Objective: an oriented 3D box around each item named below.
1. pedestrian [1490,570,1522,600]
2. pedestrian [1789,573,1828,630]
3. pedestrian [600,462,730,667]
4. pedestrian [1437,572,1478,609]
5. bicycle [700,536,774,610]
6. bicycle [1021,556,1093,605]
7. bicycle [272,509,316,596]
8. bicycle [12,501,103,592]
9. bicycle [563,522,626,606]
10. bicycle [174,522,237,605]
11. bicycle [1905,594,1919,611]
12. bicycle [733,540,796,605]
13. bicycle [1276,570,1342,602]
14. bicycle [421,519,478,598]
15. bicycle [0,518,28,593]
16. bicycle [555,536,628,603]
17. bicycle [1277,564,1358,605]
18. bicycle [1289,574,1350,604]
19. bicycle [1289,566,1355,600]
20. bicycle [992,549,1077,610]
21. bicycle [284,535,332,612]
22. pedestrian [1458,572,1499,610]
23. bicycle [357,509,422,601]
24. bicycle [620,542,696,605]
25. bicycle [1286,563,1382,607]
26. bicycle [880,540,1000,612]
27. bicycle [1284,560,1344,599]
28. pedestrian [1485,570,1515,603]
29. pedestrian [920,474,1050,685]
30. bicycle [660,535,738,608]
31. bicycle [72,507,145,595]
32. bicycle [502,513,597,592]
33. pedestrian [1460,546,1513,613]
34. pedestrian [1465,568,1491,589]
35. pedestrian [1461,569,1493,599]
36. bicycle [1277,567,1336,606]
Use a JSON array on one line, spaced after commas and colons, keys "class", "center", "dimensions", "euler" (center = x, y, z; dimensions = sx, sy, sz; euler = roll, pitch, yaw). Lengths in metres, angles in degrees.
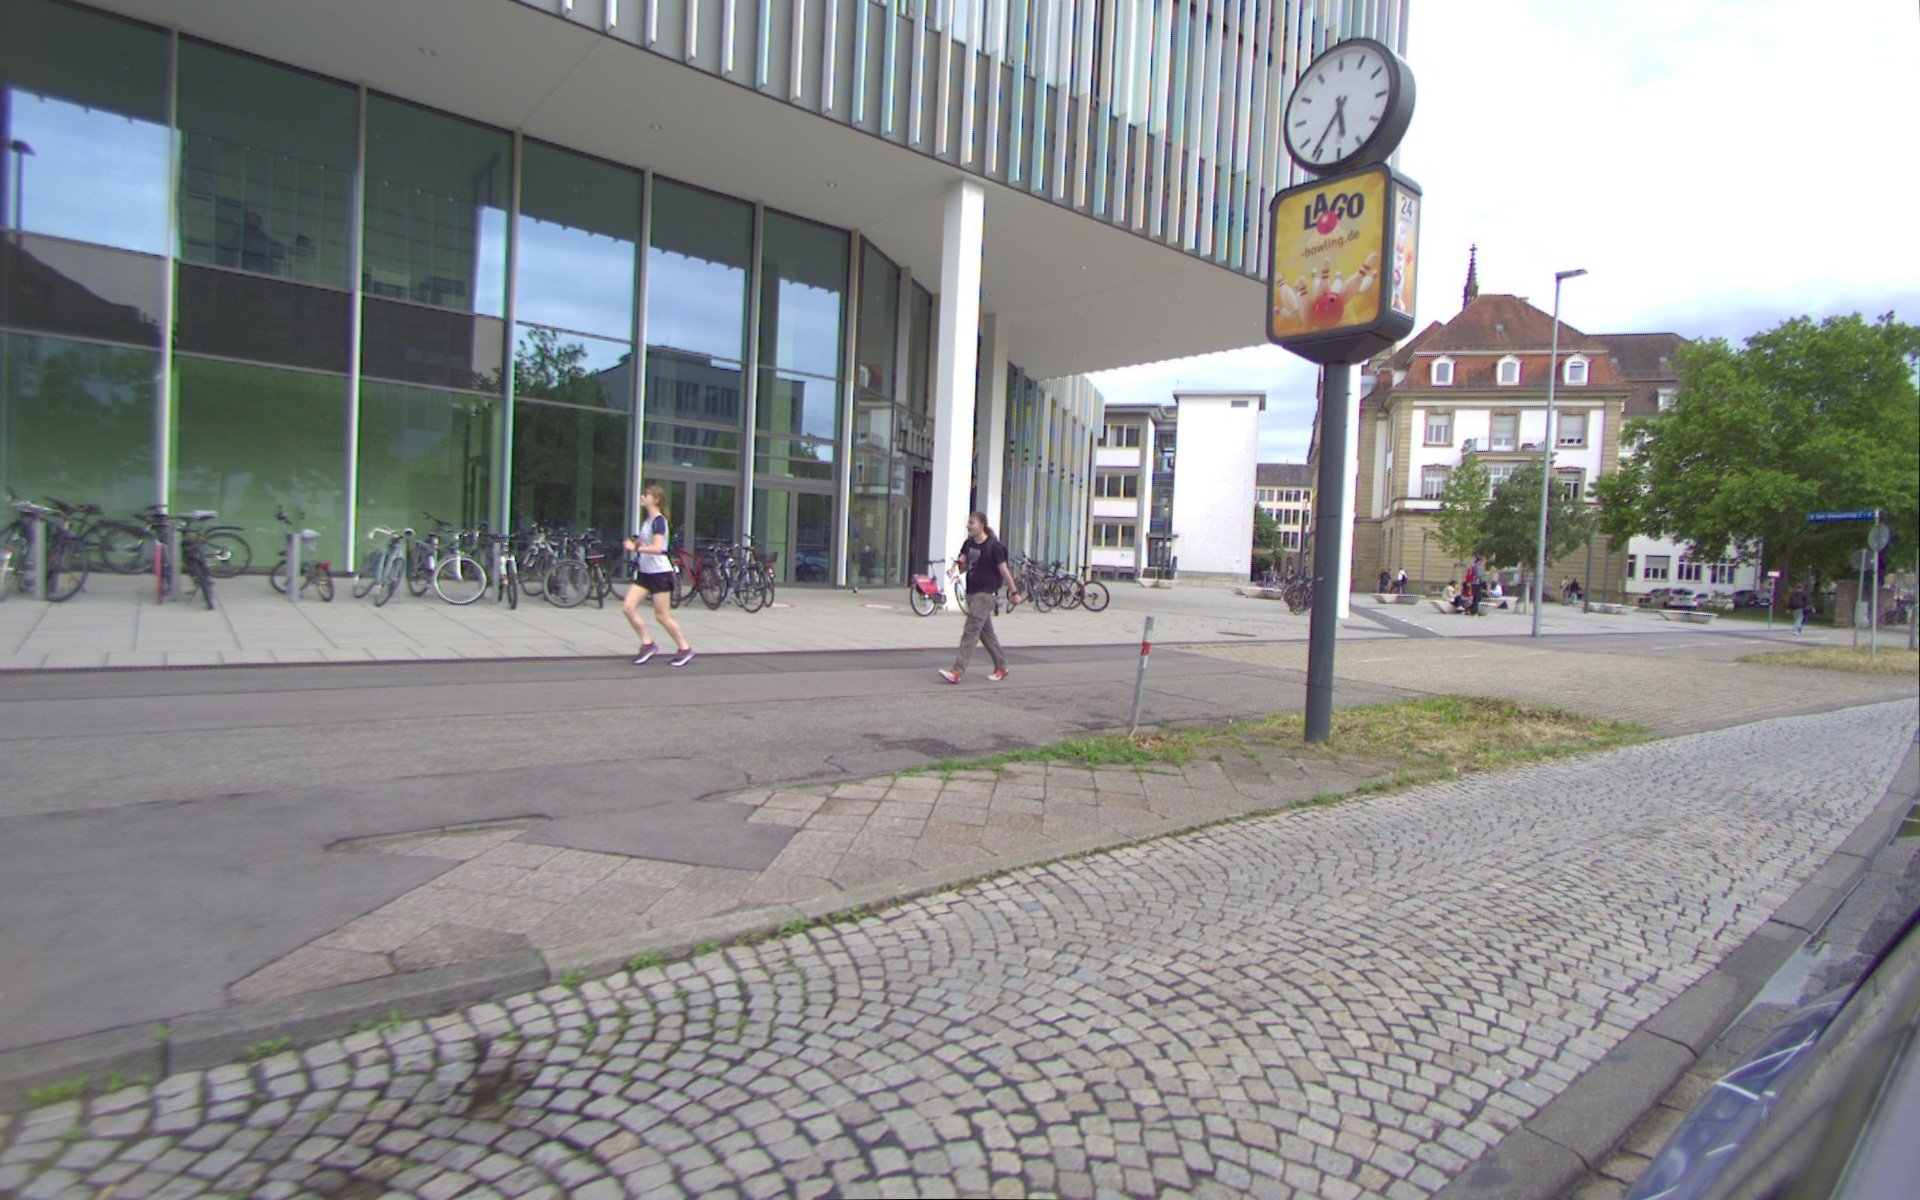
[{"class": "pedestrian", "center": [23.380, -0.643, 43.363], "dimensions": [0.862, 1.273, 0.912], "euler": [1, 1, -36]}, {"class": "pedestrian", "center": [31.471, 0.053, 37.534], "dimensions": [0.878, 2.038, 0.845], "euler": [1, 3, -38]}, {"class": "pedestrian", "center": [-2.845, -0.346, 9.756], "dimensions": [0.879, 1.858, 0.844], "euler": [1, 3, -41]}, {"class": "pedestrian", "center": [17.179, -0.332, 34.985], "dimensions": [0.828, 1.207, 0.896], "euler": [1, 3, -25]}, {"class": "bicycle", "center": [-3.551, -0.439, 16.072], "dimensions": [0.549, 1.056, 1.405], "euler": [1, 5, -38]}, {"class": "bicycle", "center": [2.110, -0.431, 21.920], "dimensions": [1.466, 0.940, 0.439], "euler": [4, 3, 12]}, {"class": "bicycle", "center": [-8.657, -0.629, 13.175], "dimensions": [0.426, 1.062, 1.203], "euler": [1, 4, -32]}, {"class": "bicycle", "center": [-10.405, -0.630, 11.712], "dimensions": [0.506, 0.958, 1.699], "euler": [1, 3, -32]}, {"class": "bicycle", "center": [-5.481, -0.563, 15.108], "dimensions": [0.561, 1.104, 1.653], "euler": [1, 5, -30]}, {"class": "bicycle", "center": [-8.896, -0.444, 11.917], "dimensions": [0.546, 0.885, 1.287], "euler": [1, 4, -38]}, {"class": "bicycle", "center": [66.725, 0.178, 70.925], "dimensions": [2.048, 1.089, 0.477], "euler": [0, 3, -43]}, {"class": "bicycle", "center": [-3.361, -0.481, 17.280], "dimensions": [0.557, 0.947, 1.615], "euler": [3, 5, -28]}, {"class": "bicycle", "center": [12.625, -0.529, 36.624], "dimensions": [2.166, 1.018, 0.776], "euler": [4, 3, 21]}, {"class": "bicycle", "center": [-7.175, -0.598, 14.207], "dimensions": [0.539, 1.019, 1.248], "euler": [1, 4, -34]}, {"class": "bicycle", "center": [-10.752, -0.516, 11.177], "dimensions": [0.546, 0.754, 1.439], "euler": [1, 4, -38]}, {"class": "bicycle", "center": [-5.539, -0.477, 15.164], "dimensions": [0.546, 0.885, 1.612], "euler": [1, 4, -38]}, {"class": "bicycle", "center": [10.856, -0.482, 30.777], "dimensions": [2.147, 1.129, 0.735], "euler": [3, 2, 8]}, {"class": "bicycle", "center": [12.468, -0.391, 35.153], "dimensions": [1.812, 0.909, 0.672], "euler": [3, 2, 3]}, {"class": "bicycle", "center": [12.251, -0.589, 34.303], "dimensions": [1.928, 1.014, 0.773], "euler": [3, 2, 10]}, {"class": "bicycle", "center": [1.484, -0.402, 19.825], "dimensions": [0.607, 1.092, 1.935], "euler": [7, 5, 39]}, {"class": "bicycle", "center": [-8.446, -0.359, 13.084], "dimensions": [0.360, 0.907, 1.611], "euler": [1, 3, -38]}, {"class": "pedestrian", "center": [17.911, -0.322, 35.006], "dimensions": [0.876, 1.221, 0.846], "euler": [2, 2, -5]}, {"class": "bicycle", "center": [-7.671, -0.622, 13.580], "dimensions": [0.561, 1.115, 1.651], "euler": [1, 5, -35]}, {"class": "bicycle", "center": [-4.696, -0.423, 15.673], "dimensions": [0.546, 0.885, 1.611], "euler": [1, 3, -38]}, {"class": "bicycle", "center": [11.749, -0.490, 31.865], "dimensions": [2.676, 1.202, 0.773], "euler": [3, 2, 10]}, {"class": "bicycle", "center": [-0.326, -0.411, 17.676], "dimensions": [2.164, 1.153, 0.637], "euler": [0, 6, -44]}, {"class": "bicycle", "center": [13.449, -0.793, 38.496], "dimensions": [1.992, 1.322, 0.639], "euler": [6, 2, 30]}, {"class": "pedestrian", "center": [22.537, -0.564, 42.240], "dimensions": [0.908, 1.384, 0.865], "euler": [2, 1, 41]}, {"class": "pedestrian", "center": [0.245, -0.226, 10.341], "dimensions": [0.878, 2.037, 0.845], "euler": [1, 5, -38]}, {"class": "bicycle", "center": [-4.112, -0.464, 15.881], "dimensions": [0.546, 0.994, 1.612], "euler": [1, 6, -38]}, {"class": "bicycle", "center": [-9.427, -0.559, 11.236], "dimensions": [0.546, 0.885, 1.611], "euler": [1, 4, -38]}, {"class": "bicycle", "center": [-6.623, -0.792, 16.423], "dimensions": [0.636, 1.158, 1.988], "euler": [4, 4, 2]}, {"class": "pedestrian", "center": [16.868, -0.647, 32.413], "dimensions": [1.116, 2.088, 1.182], "euler": [1, 1, -44]}, {"class": "pedestrian", "center": [22.058, -0.905, 43.104], "dimensions": [0.718, 0.833, 0.638], "euler": [1, 3, -24]}, {"class": "pedestrian", "center": [22.569, -0.681, 44.197], "dimensions": [0.862, 1.273, 0.912], "euler": [1, 1, -36]}, {"class": "bicycle", "center": [9.827, -0.382, 28.677], "dimensions": [1.805, 1.075, 0.641], "euler": [1, 1, -35]}]
